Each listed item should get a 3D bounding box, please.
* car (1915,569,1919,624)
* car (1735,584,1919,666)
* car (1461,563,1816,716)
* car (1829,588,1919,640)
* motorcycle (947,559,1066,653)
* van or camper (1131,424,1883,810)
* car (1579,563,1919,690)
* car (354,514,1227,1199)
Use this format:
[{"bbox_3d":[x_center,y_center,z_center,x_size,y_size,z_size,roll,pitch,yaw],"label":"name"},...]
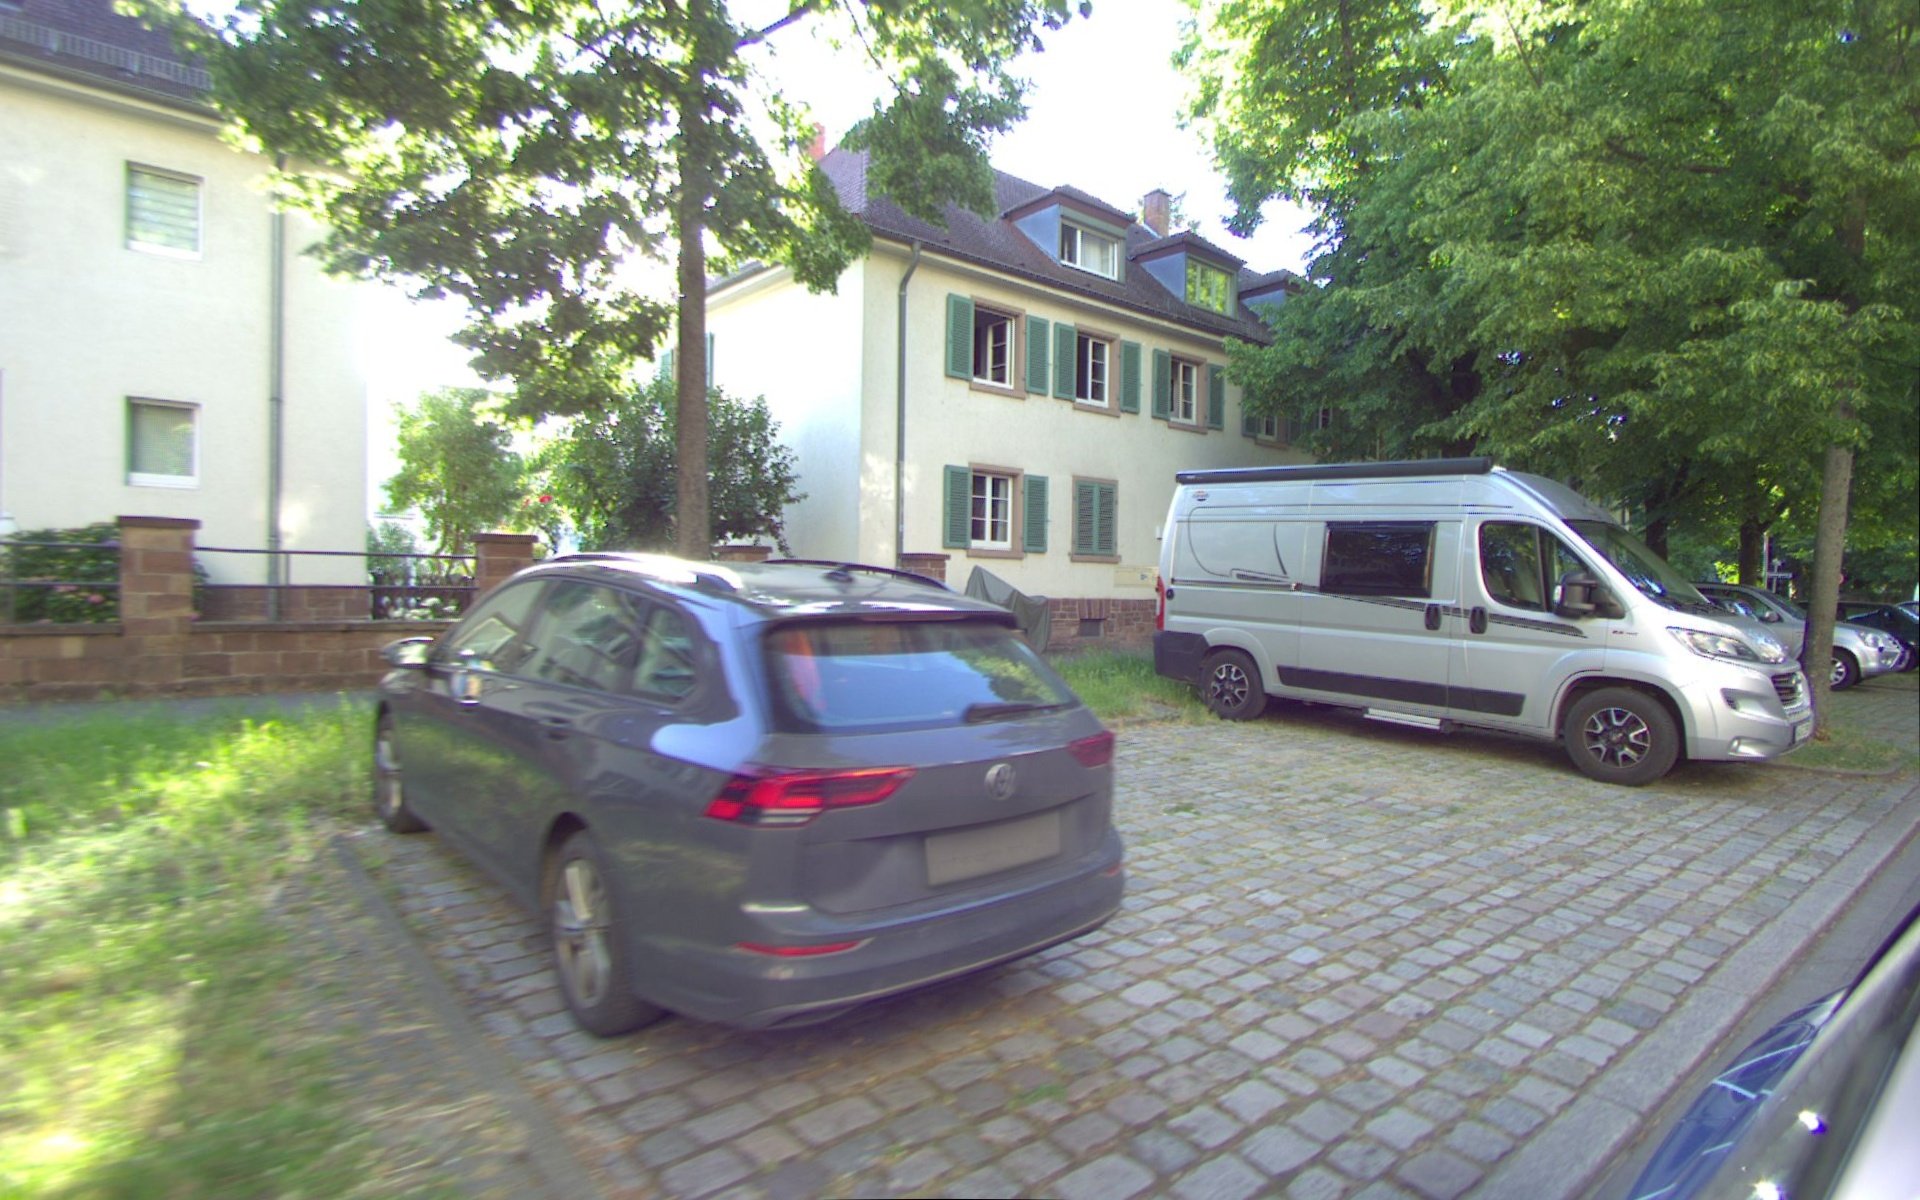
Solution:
[{"bbox_3d":[49.661,-0.042,48.465,2.096,2.695,5.448,1,2,-39],"label":"car"},{"bbox_3d":[19.389,0.512,21.805,1.528,1.571,3.996,0,2,-40],"label":"car"},{"bbox_3d":[8.429,0.385,12.761,1.792,1.480,3.262,0,4,-39],"label":"car"},{"bbox_3d":[30.300,0.464,32.082,1.546,1.531,3.992,0,2,-43],"label":"car"},{"bbox_3d":[0.768,0.074,16.192,1.981,1.424,0.660,-1,0,-41],"label":"motorcycle"},{"bbox_3d":[4.573,-0.117,9.533,2.124,2.546,5.734,0,4,-40],"label":"van or camper"},{"bbox_3d":[13.671,0.336,17.533,1.966,1.736,4.603,0,4,-42],"label":"car"},{"bbox_3d":[-1.263,0.435,4.516,1.795,1.453,4.488,0,5,-40],"label":"car"}]
